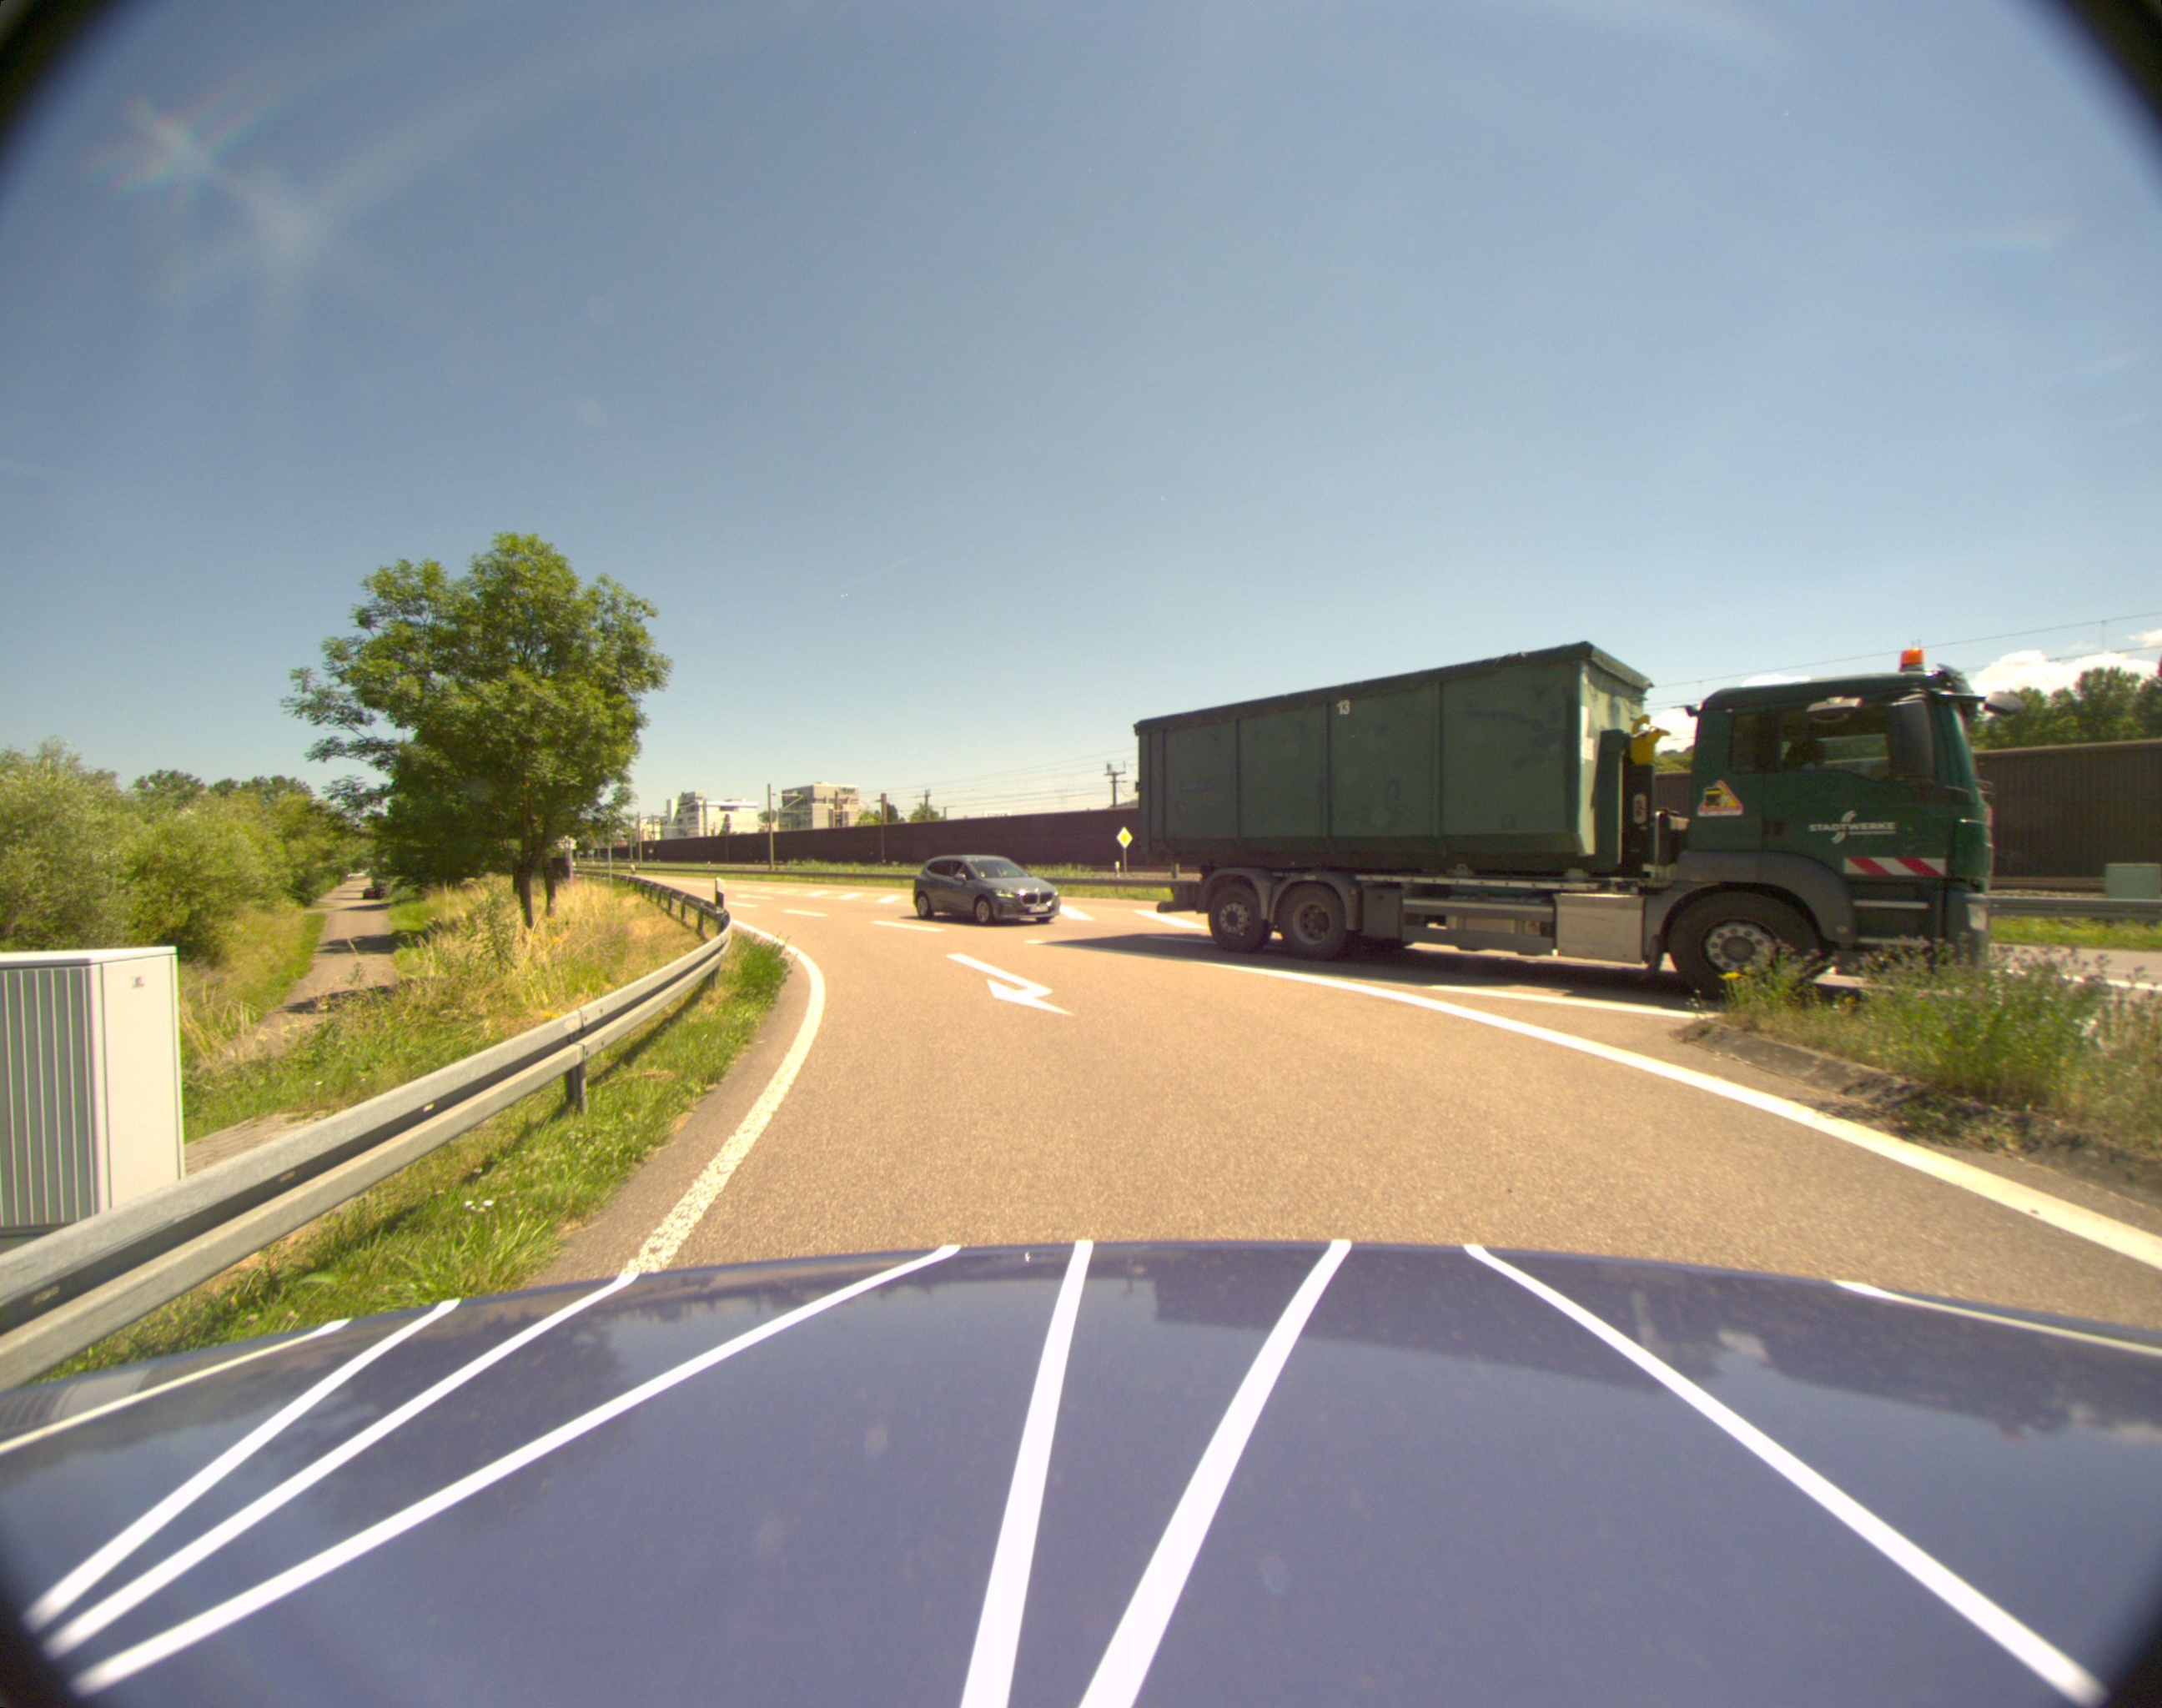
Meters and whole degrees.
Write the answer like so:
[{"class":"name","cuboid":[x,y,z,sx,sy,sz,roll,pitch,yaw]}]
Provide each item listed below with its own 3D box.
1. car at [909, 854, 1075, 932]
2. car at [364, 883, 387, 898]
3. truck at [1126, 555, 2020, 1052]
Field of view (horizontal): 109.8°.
[{"class":"car","cuboid":[-2.222,0.815,18.081,1.854,1.613,4.213,-1,1,-41]},{"class":"car","cuboid":[-90.004,4.635,96.992,2.004,1.674,3.989,-3,1,-43]},{"class":"truck","cuboid":[4.890,-0.341,10.148,2.603,3.715,9.548,-1,0,-41]}]
